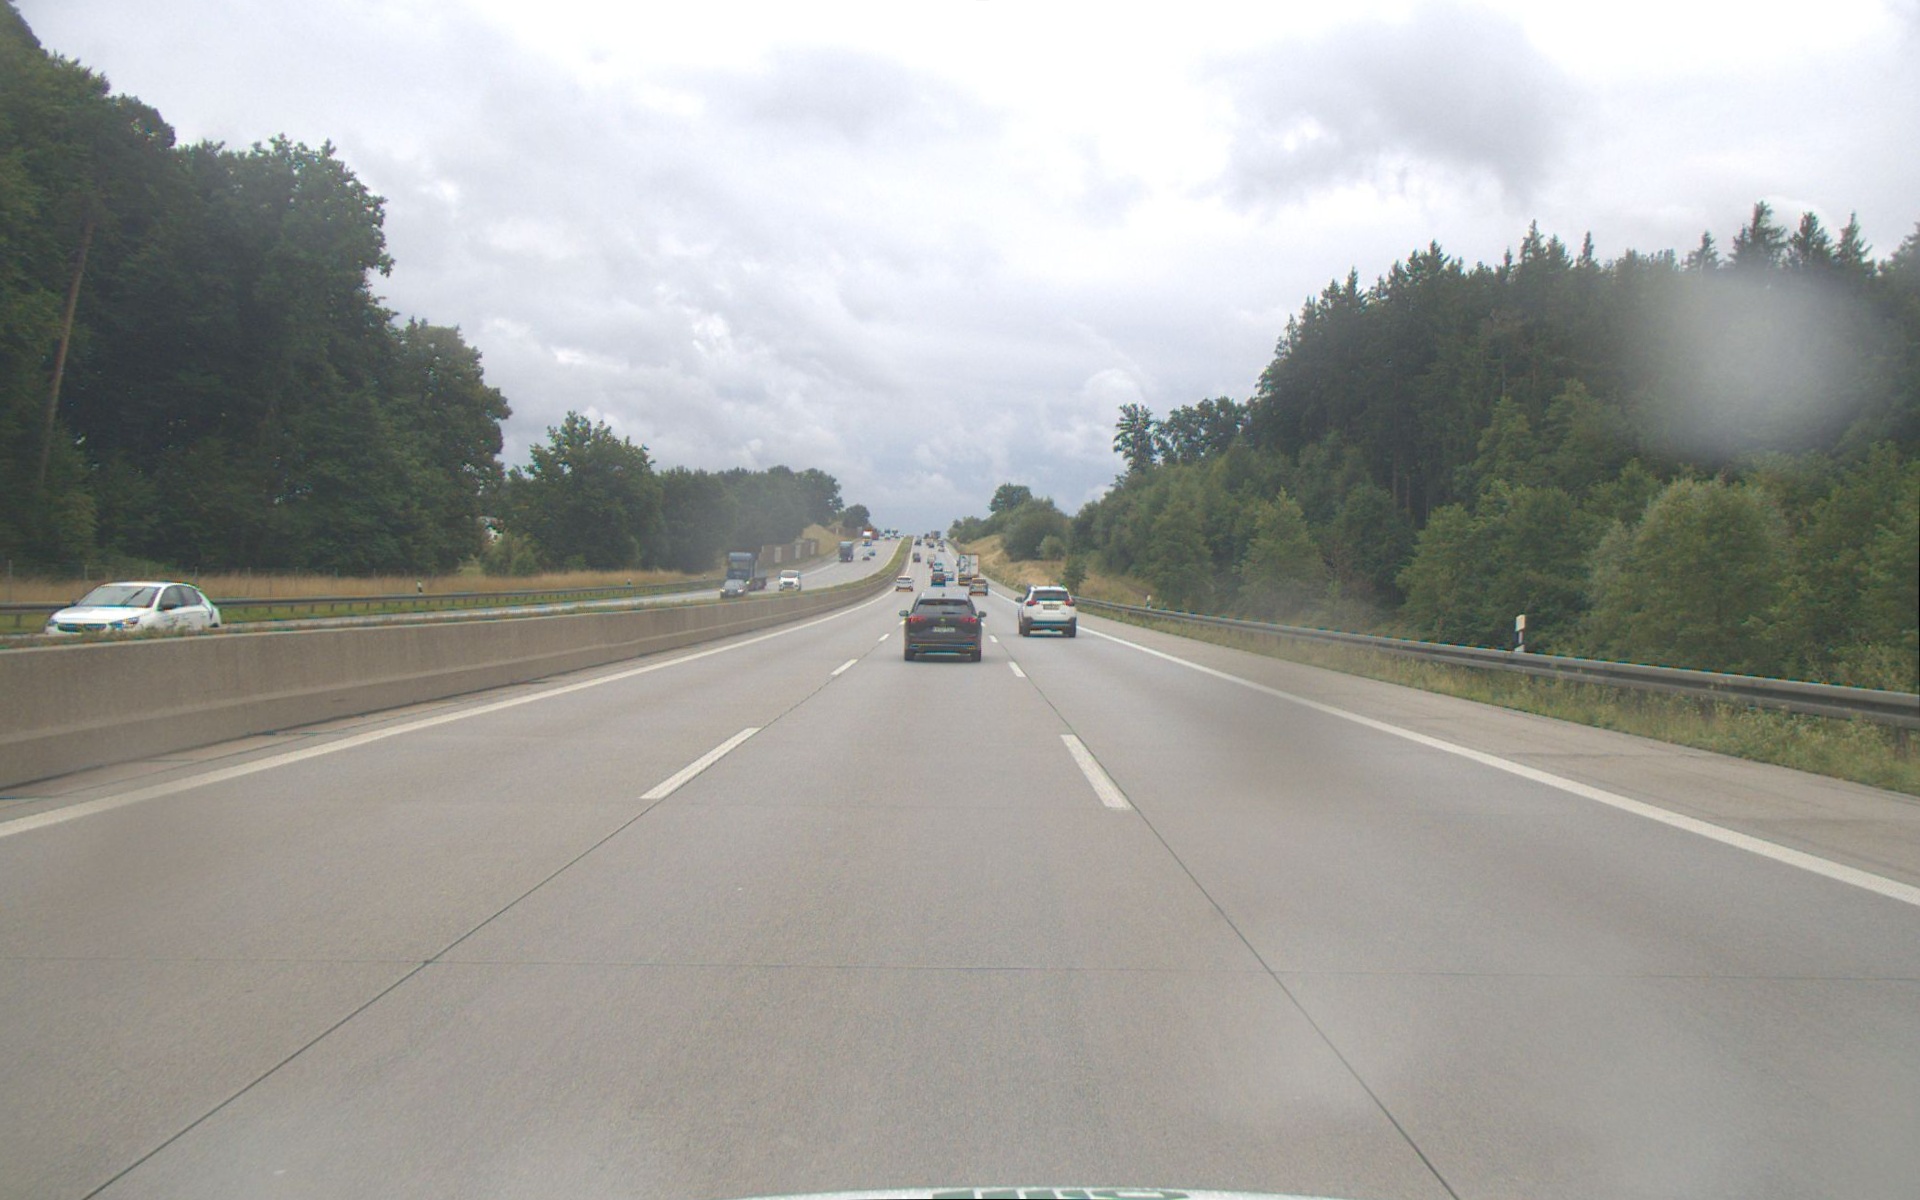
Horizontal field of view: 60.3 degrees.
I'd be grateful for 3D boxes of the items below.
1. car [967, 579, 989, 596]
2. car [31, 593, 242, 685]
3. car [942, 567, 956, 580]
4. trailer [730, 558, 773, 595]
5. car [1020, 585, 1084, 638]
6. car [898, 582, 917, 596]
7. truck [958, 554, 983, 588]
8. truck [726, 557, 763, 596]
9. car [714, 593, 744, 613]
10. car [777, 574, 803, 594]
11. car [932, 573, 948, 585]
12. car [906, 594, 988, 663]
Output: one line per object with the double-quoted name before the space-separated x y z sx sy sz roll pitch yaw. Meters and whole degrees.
"car" 1.710 -1.198 158.734 1.953 1.556 3.999 3 0 -1
"car" -15.228 0.671 30.869 1.747 1.494 4.371 3 0 -1
"car" -1.583 -3.899 242.842 1.952 1.668 4.001 1 2 1
"trailer" -20.792 -2.301 165.524 2.729 3.569 13.883 1 0 -1
"car" 3.058 0.364 55.738 1.789 1.684 3.983 0 0 -2
"car" -5.511 -1.190 173.843 1.907 1.380 4.259 0 -1 0
"truck" 1.276 -3.803 213.329 2.956 4.253 8.353 1 2 -1
"truck" -20.677 -2.219 158.699 2.701 3.578 6.639 1 0 -1
"car" -17.078 0.206 122.546 1.810 1.400 4.435 1 0 -3
"car" -16.721 -1.582 162.684 2.046 1.832 5.496 3 0 -1
"car" -2.485 -2.626 205.935 1.896 1.399 4.594 1 1 0
"car" -0.265 0.613 37.216 1.716 1.422 4.484 1 0 0
